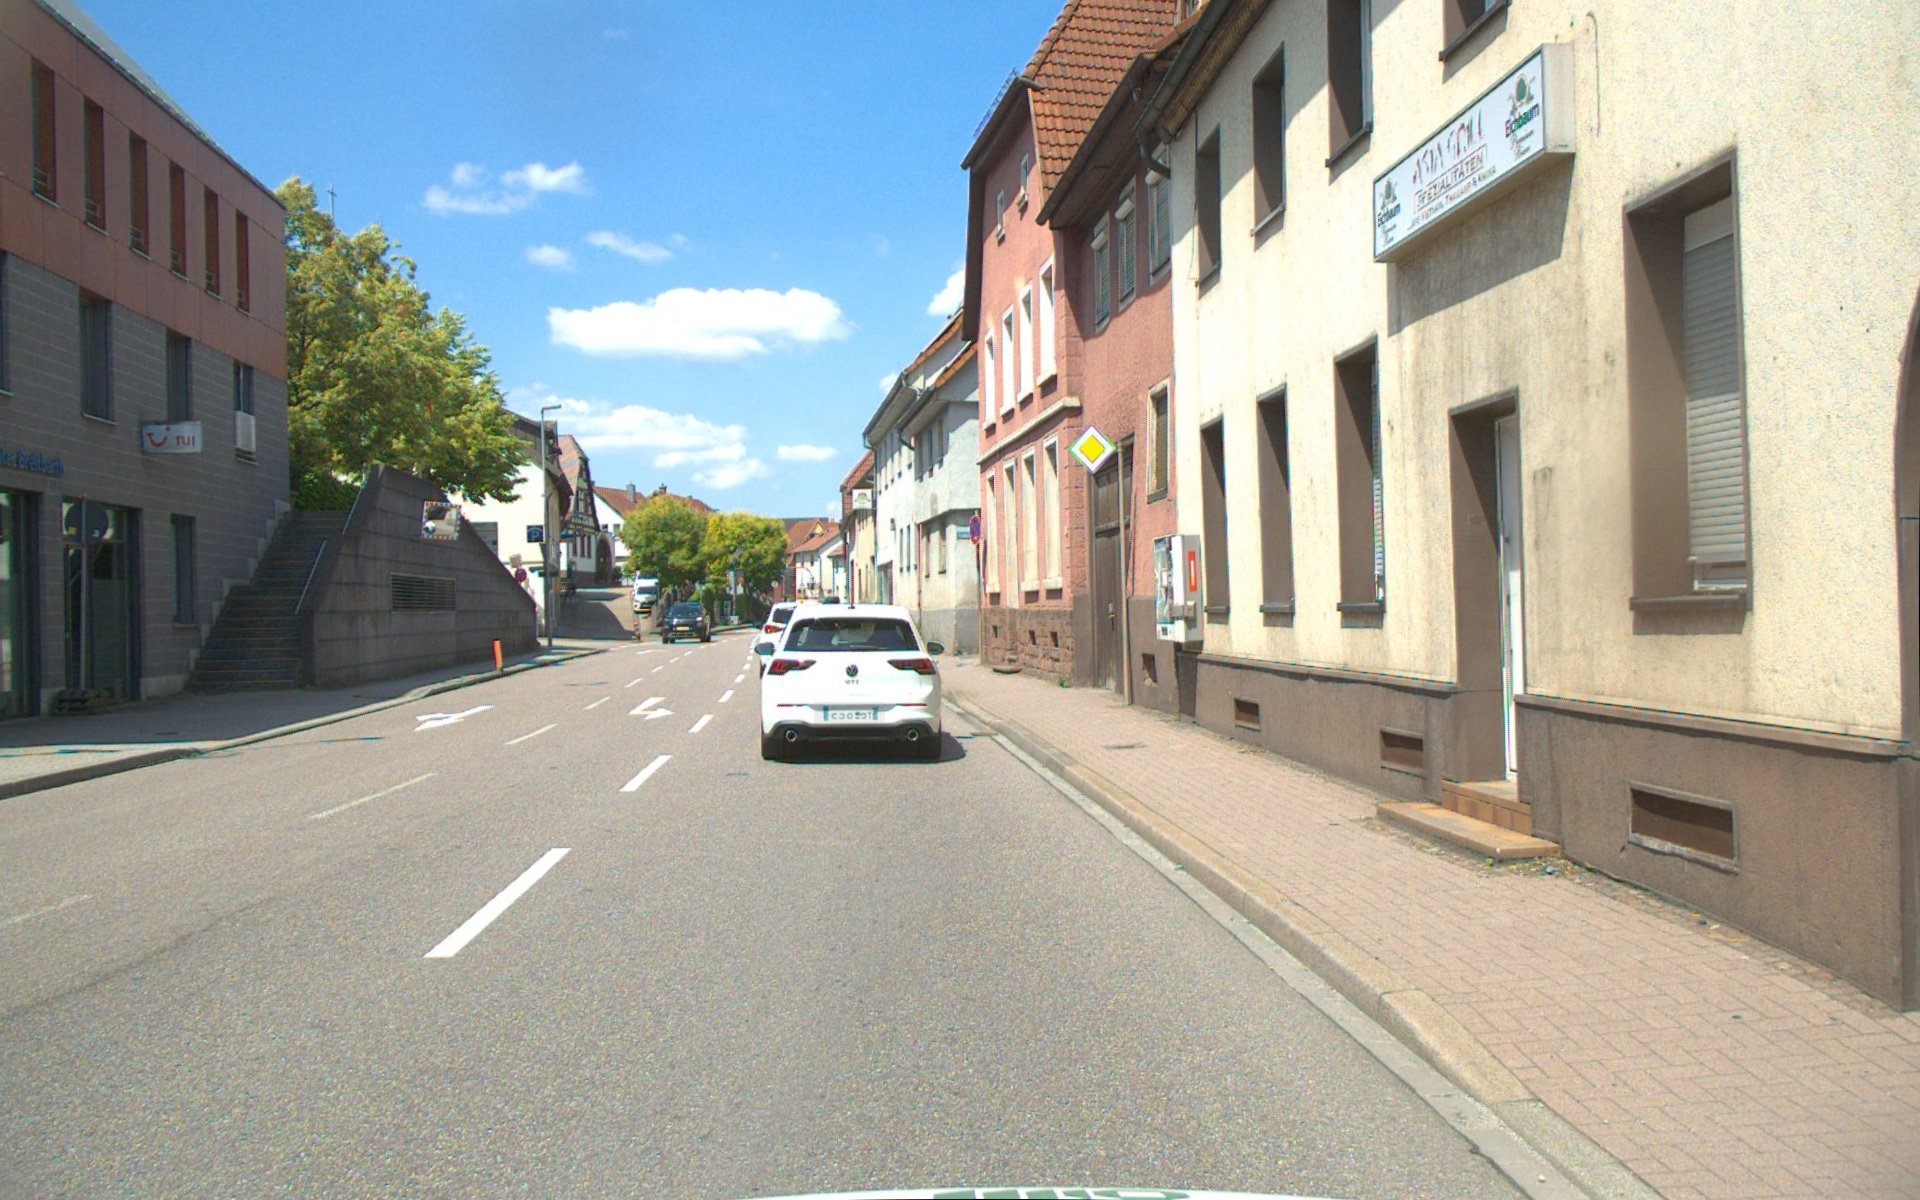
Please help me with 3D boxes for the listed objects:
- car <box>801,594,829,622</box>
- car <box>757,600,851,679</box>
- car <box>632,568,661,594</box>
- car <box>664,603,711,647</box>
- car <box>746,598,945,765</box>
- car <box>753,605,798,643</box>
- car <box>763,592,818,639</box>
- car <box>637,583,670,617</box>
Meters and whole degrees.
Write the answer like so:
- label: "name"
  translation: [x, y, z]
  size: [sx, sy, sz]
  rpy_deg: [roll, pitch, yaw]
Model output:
- label: "car"
  translation: [-9.528, 0.515, 108.656]
  size: [1.741, 1.796, 3.995]
  rpy_deg: [-1, 0, -5]
- label: "car"
  translation: [-3.225, 0.781, 33.642]
  size: [1.773, 1.493, 3.993]
  rpy_deg: [1, -1, -7]
- label: "car"
  translation: [-20.393, -1.264, 107.652]
  size: [1.547, 1.385, 3.852]
  rpy_deg: [-1, 6, -7]
- label: "car"
  translation: [-10.898, 0.969, 66.295]
  size: [1.638, 1.686, 4.011]
  rpy_deg: [-1, 0, -7]
- label: "car"
  translation: [-1.102, 0.758, 16.917]
  size: [1.771, 1.493, 3.998]
  rpy_deg: [1, -1, -2]
- label: "car"
  translation: [-7.889, 1.002, 70.971]
  size: [1.741, 1.565, 3.996]
  rpy_deg: [-1, 0, -5]
- label: "car"
  translation: [-5.758, 0.527, 55.962]
  size: [1.773, 1.493, 3.993]
  rpy_deg: [1, -1, -7]
- label: "car"
  translation: [-17.693, -0.039, 95.547]
  size: [1.661, 1.569, 3.852]
  rpy_deg: [-1, 5, -7]
